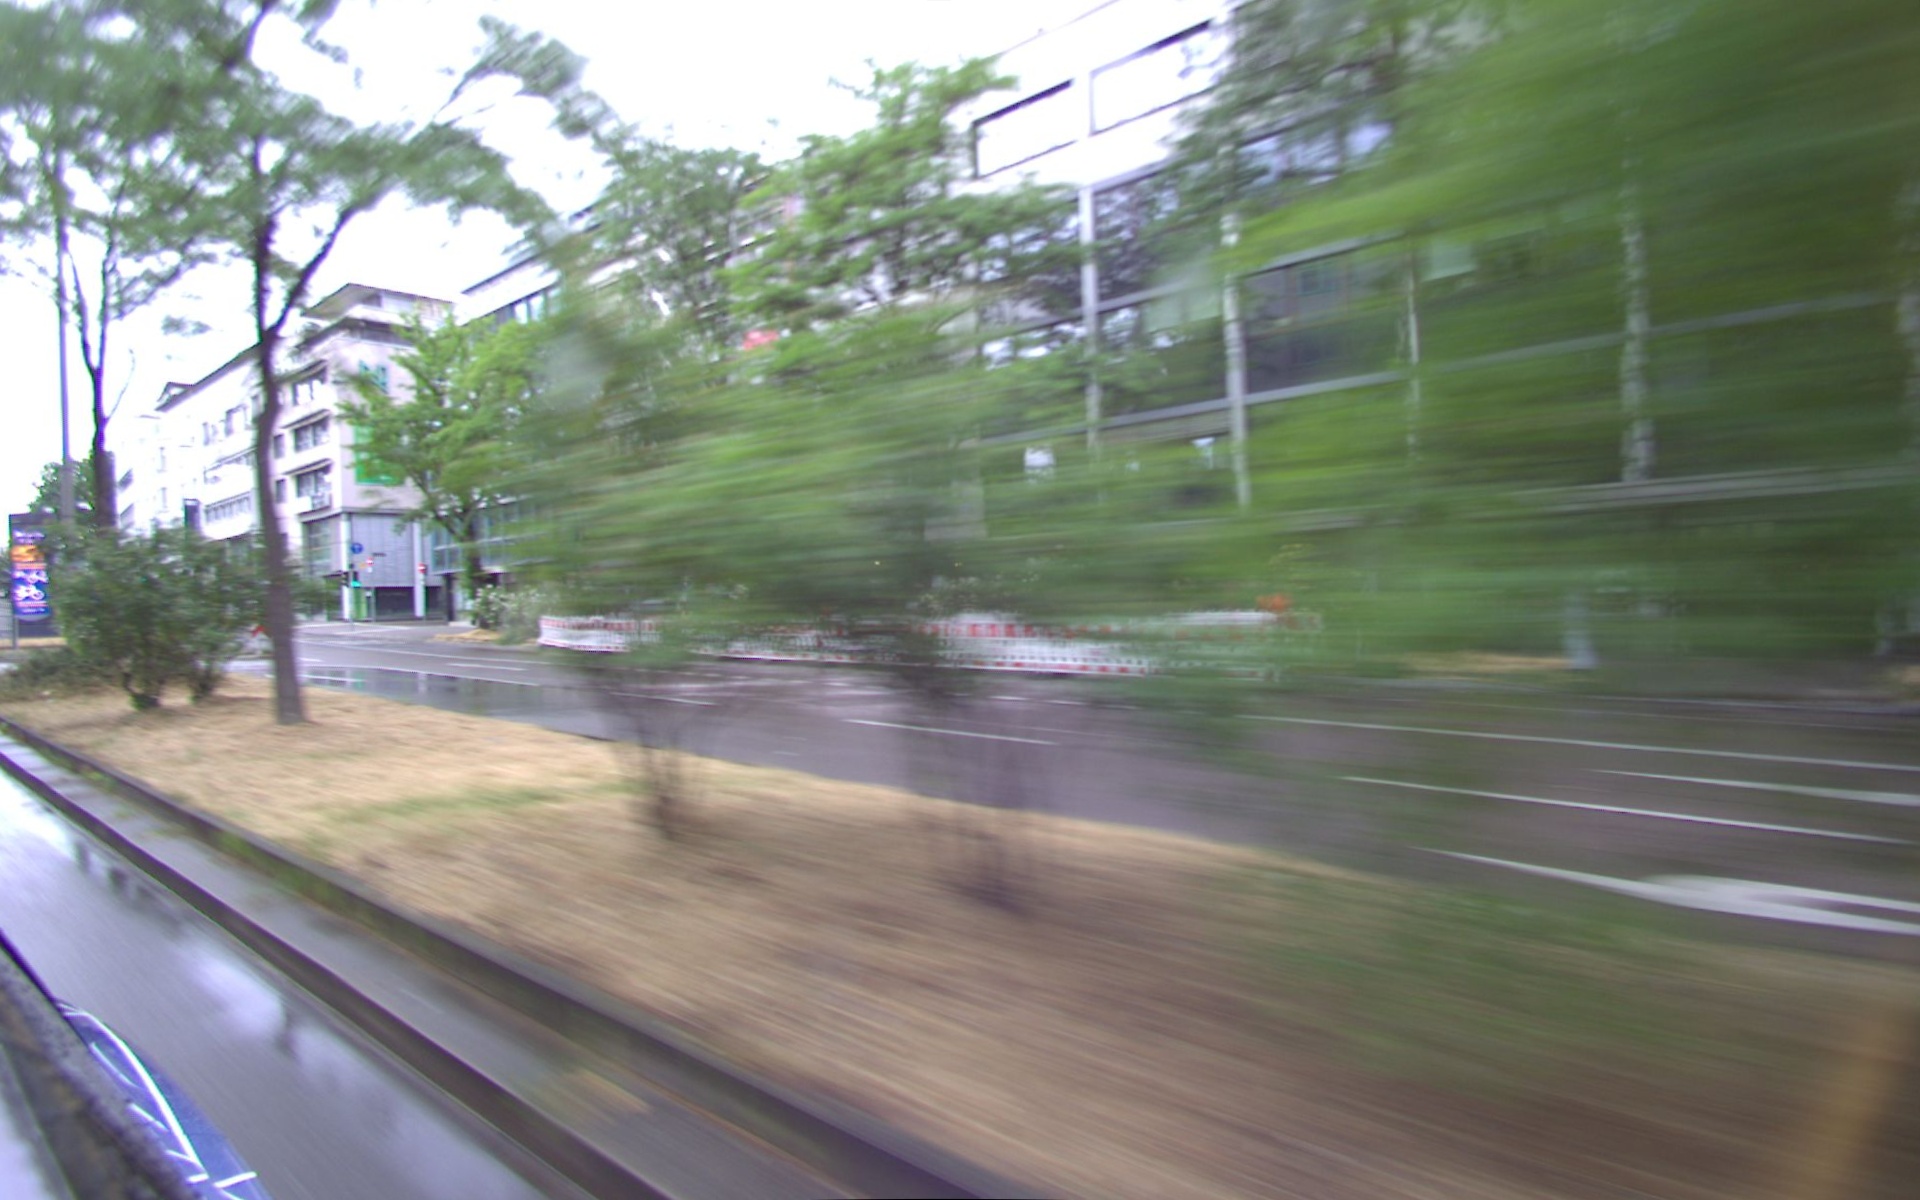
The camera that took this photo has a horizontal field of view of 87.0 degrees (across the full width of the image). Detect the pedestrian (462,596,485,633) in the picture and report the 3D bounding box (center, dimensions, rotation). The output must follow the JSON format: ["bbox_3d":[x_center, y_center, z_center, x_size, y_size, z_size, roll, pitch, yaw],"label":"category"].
[{"bbox_3d":[-23.506,0.698,48.902,0.757,1.727,0.731,-1,0,40],"label":"pedestrian"}]
